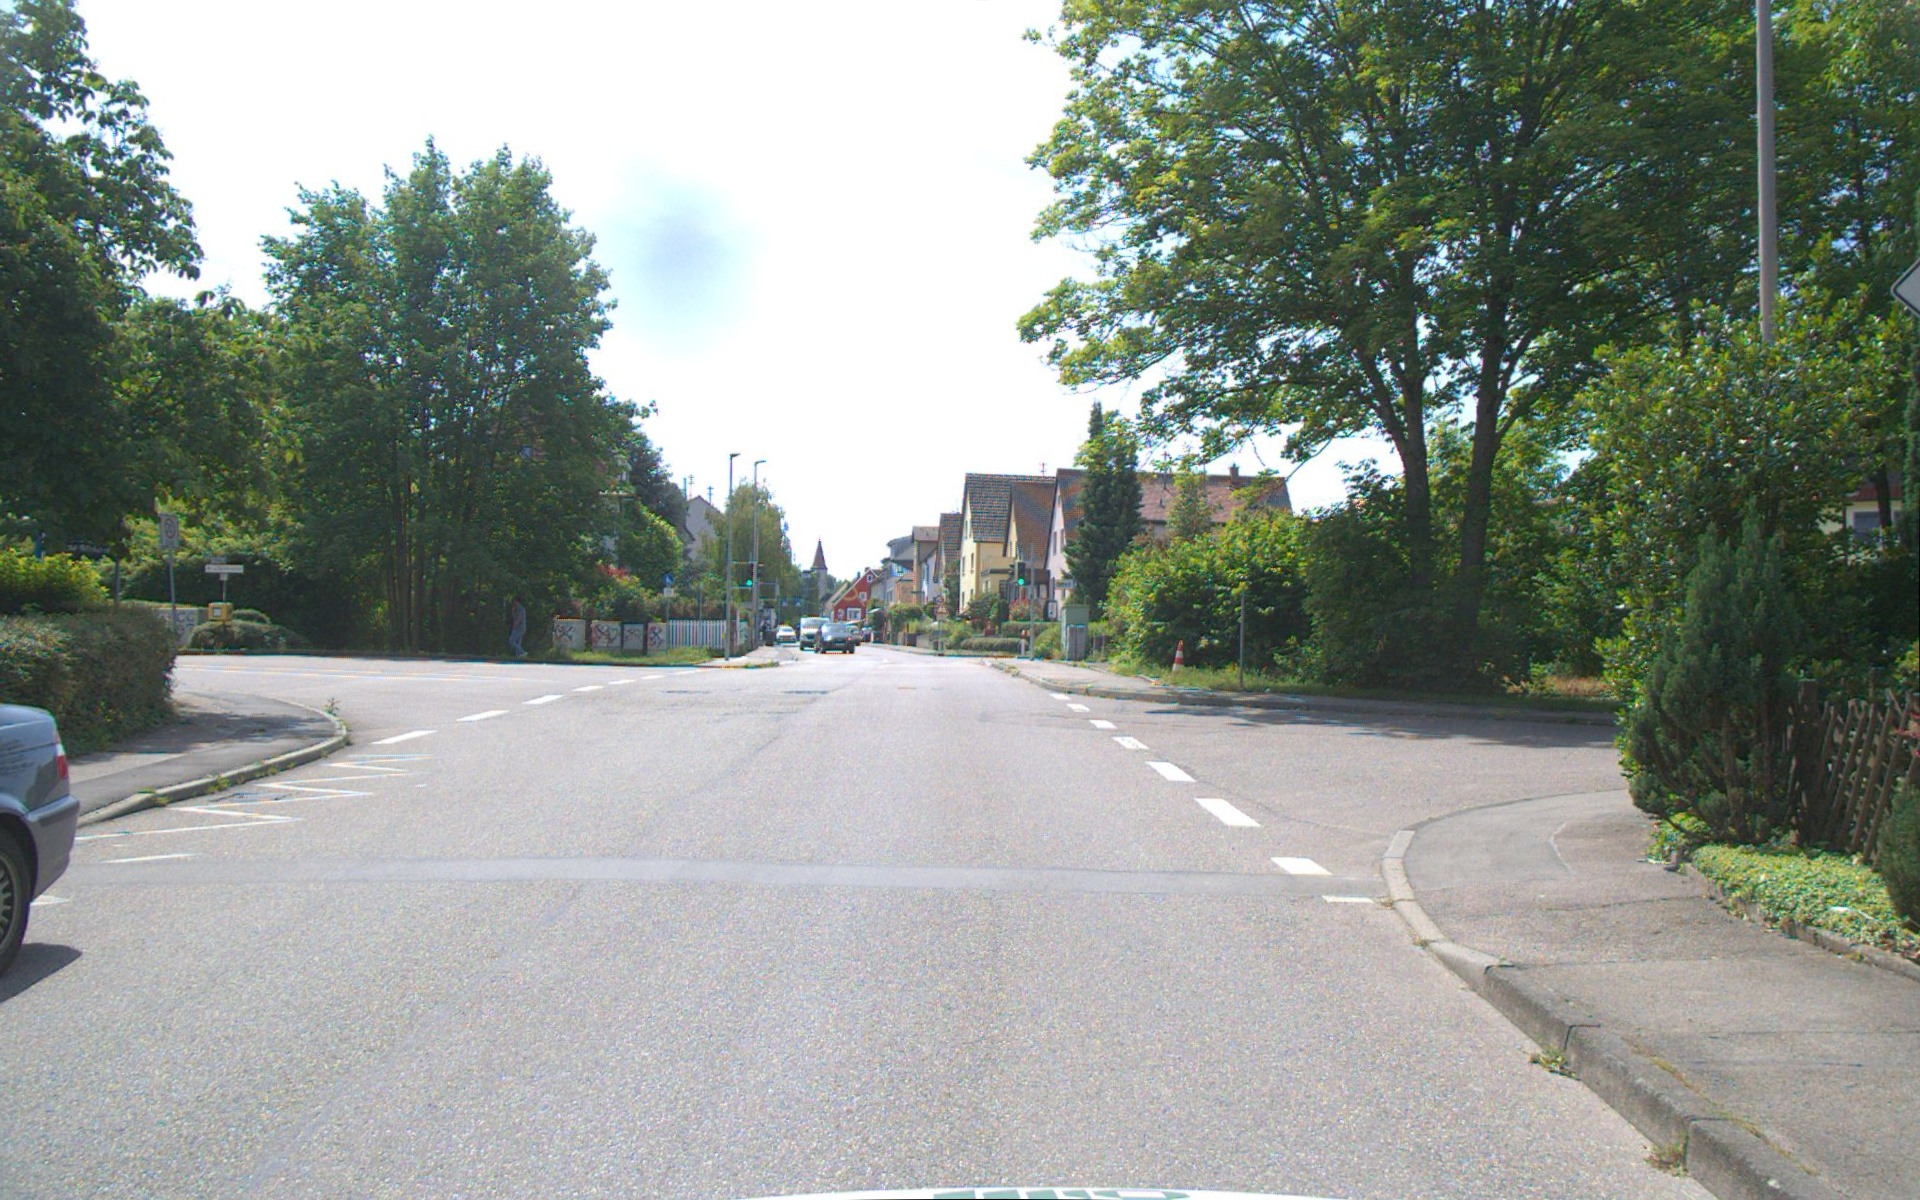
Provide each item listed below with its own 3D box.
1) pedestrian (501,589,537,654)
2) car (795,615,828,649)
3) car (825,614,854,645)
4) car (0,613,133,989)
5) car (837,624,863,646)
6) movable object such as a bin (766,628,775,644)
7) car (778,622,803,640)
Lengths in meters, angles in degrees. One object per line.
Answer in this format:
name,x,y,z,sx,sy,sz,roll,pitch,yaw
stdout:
pedestrian,-12.468,0.608,46.737,0.720,1.809,0.690,-2,-3,17
car,-9.104,1.996,101.129,1.844,1.999,4.894,-1,-2,-7
car,-6.478,1.557,88.621,1.504,1.568,4.300,1,0,-5
car,-4.506,0.769,5.077,1.744,1.419,4.408,-1,0,-1
car,-8.992,2.839,135.842,1.953,1.631,3.999,1,1,-2
movable object such as a bin,-12.722,2.402,111.139,0.596,1.064,0.724,2,0,-7
car,-15.665,2.859,152.824,2.068,1.588,4.311,1,-1,-3
